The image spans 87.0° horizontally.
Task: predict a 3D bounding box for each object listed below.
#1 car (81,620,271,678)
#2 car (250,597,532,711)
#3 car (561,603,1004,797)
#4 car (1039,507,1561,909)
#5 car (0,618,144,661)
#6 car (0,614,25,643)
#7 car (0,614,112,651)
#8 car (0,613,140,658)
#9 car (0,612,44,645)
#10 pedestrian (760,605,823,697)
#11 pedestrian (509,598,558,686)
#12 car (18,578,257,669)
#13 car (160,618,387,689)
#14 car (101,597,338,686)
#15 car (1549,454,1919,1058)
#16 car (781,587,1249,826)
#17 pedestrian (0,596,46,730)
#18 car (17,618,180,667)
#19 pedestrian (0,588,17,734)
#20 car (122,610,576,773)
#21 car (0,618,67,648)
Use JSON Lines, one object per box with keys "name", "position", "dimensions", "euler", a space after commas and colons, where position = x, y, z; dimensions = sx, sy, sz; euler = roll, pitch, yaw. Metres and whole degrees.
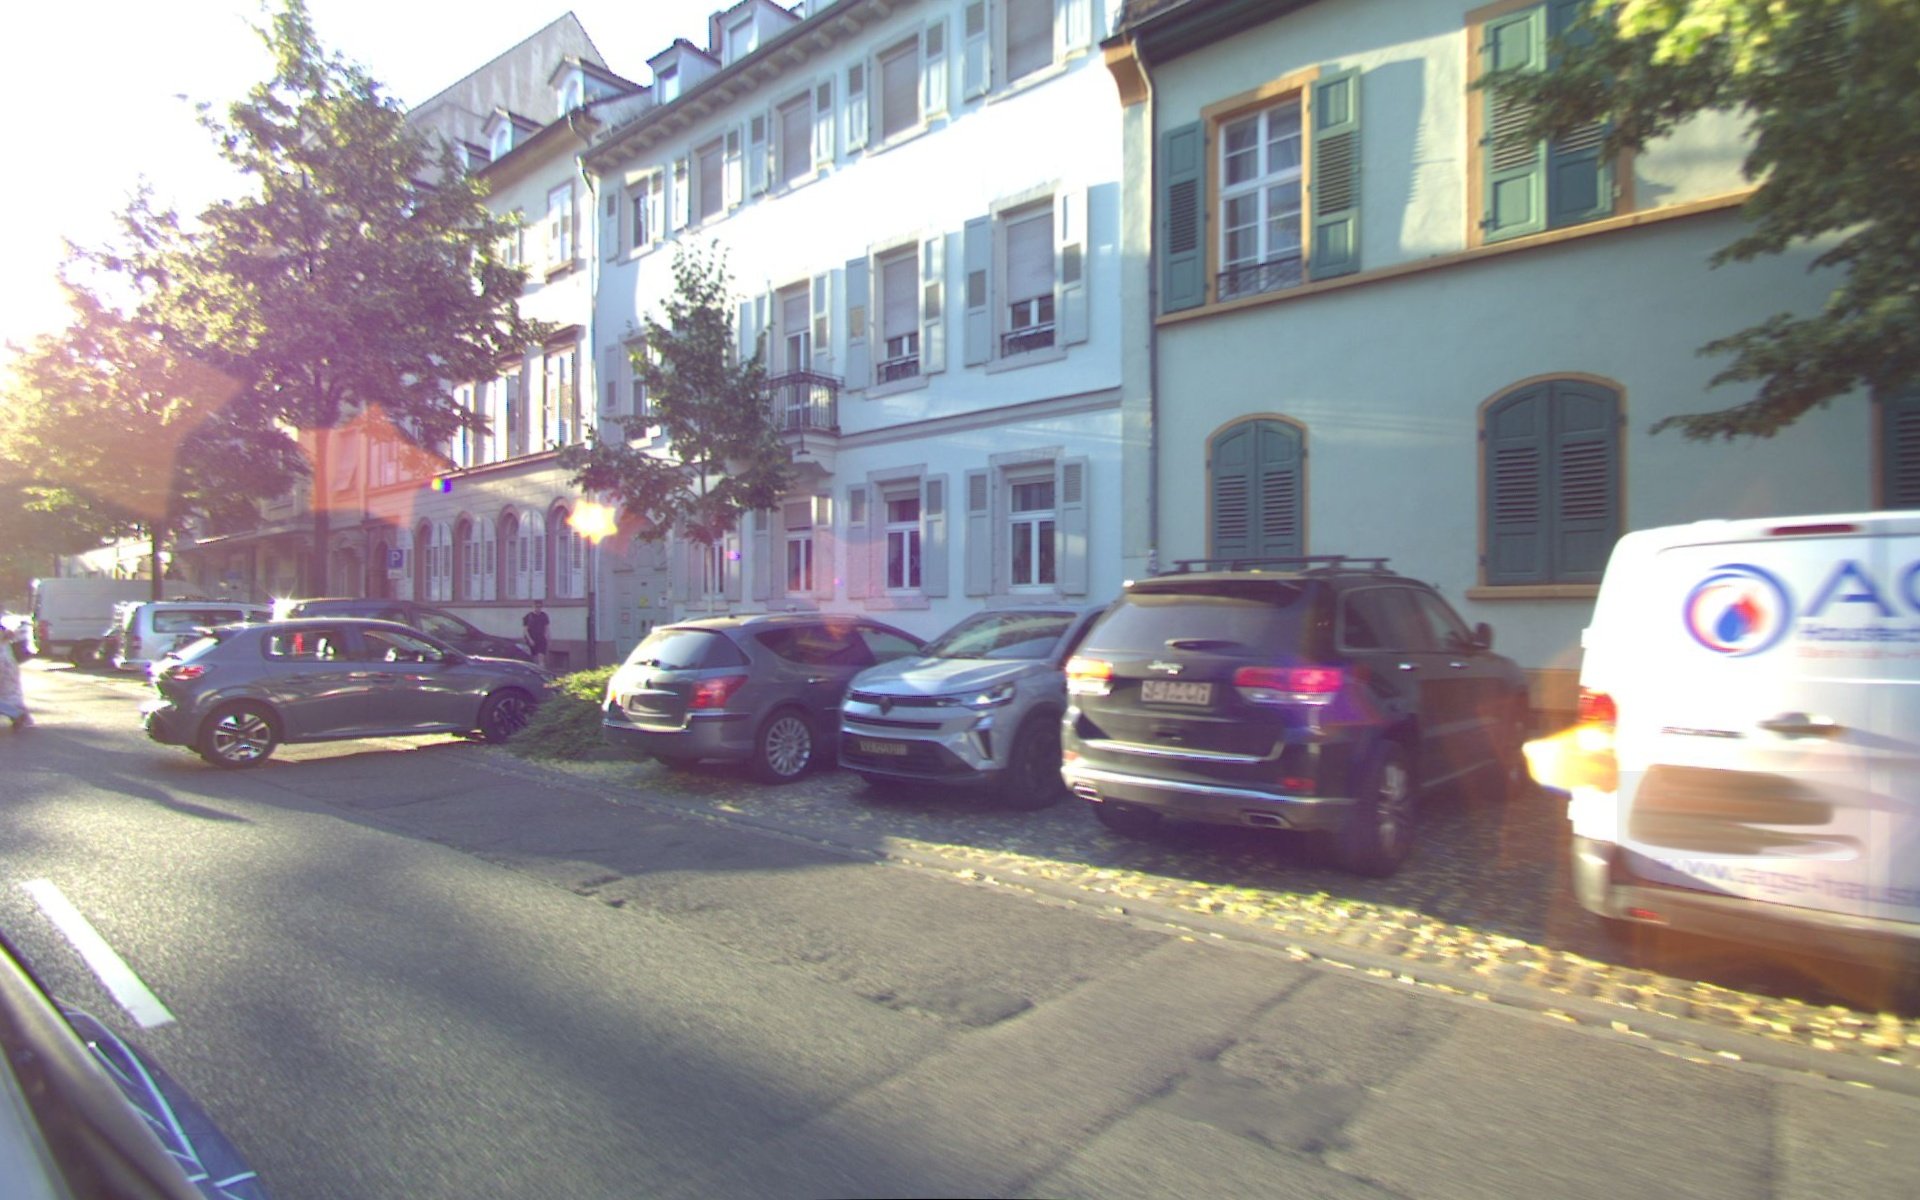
{"name": "car", "position": [-21.987, 1.313, 28.498], "dimensions": [1.748, 1.414, 3.947], "euler": [0, 0, 39]}
{"name": "car", "position": [-10.165, 0.910, 18.310], "dimensions": [1.806, 1.820, 4.093], "euler": [-2, -2, 42]}
{"name": "car", "position": [-1.563, 0.813, 9.994], "dimensions": [1.962, 1.495, 3.996], "euler": [-1, -2, 40]}
{"name": "car", "position": [2.621, 0.547, 7.035], "dimensions": [1.893, 1.884, 4.382], "euler": [-2, -2, 41]}
{"name": "car", "position": [-34.703, 1.499, 39.501], "dimensions": [1.969, 1.494, 4.144], "euler": [-2, 0, 40]}
{"name": "car", "position": [-60.649, 1.766, 62.166], "dimensions": [1.945, 1.796, 4.510], "euler": [0, -1, 40]}
{"name": "car", "position": [-40.152, 1.408, 44.660], "dimensions": [1.695, 1.459, 3.878], "euler": [-2, 0, 38]}
{"name": "car", "position": [-36.625, 1.423, 41.634], "dimensions": [1.890, 1.663, 4.192], "euler": [-2, 0, 37]}
{"name": "car", "position": [-55.677, 1.665, 57.898], "dimensions": [2.052, 1.825, 4.657], "euler": [-2, 0, 42]}
{"name": "pedestrian", "position": [-2.895, 0.858, 17.386], "dimensions": [0.796, 1.533, 0.689], "euler": [-2, -1, 40]}
{"name": "pedestrian", "position": [-8.979, 0.872, 21.301], "dimensions": [0.779, 1.815, 0.655], "euler": [-1, -2, 41]}
{"name": "car", "position": [-25.940, 0.673, 32.115], "dimensions": [2.170, 2.641, 5.600], "euler": [-2, 0, 41]}
{"name": "car", "position": [-15.750, 1.175, 23.390], "dimensions": [1.593, 1.450, 4.108], "euler": [-2, -1, 42]}
{"name": "car", "position": [-18.115, 0.952, 24.917], "dimensions": [1.919, 1.968, 4.451], "euler": [-2, -1, 43]}
{"name": "car", "position": [4.597, 0.524, 5.085], "dimensions": [1.972, 1.922, 4.820], "euler": [-2, -2, 41]}
{"name": "car", "position": [0.651, 0.739, 8.792], "dimensions": [1.964, 1.567, 3.993], "euler": [-2, -2, 43]}
{"name": "pedestrian", "position": [-12.565, 0.805, 13.149], "dimensions": [0.762, 1.708, 0.912], "euler": [-1, -2, 42]}
{"name": "car", "position": [-30.564, 1.467, 35.993], "dimensions": [1.792, 1.517, 4.170], "euler": [-2, 0, 40]}
{"name": "pedestrian", "position": [-12.209, 0.741, 12.343], "dimensions": [0.762, 1.773, 0.912], "euler": [-1, -3, 42]}
{"name": "car", "position": [-6.555, 0.863, 11.160], "dimensions": [4.011, 1.472, 1.687], "euler": [1, -2, -45]}
{"name": "car", "position": [-49.586, 1.731, 52.789], "dimensions": [1.821, 1.434, 4.337], "euler": [-2, 0, 40]}
